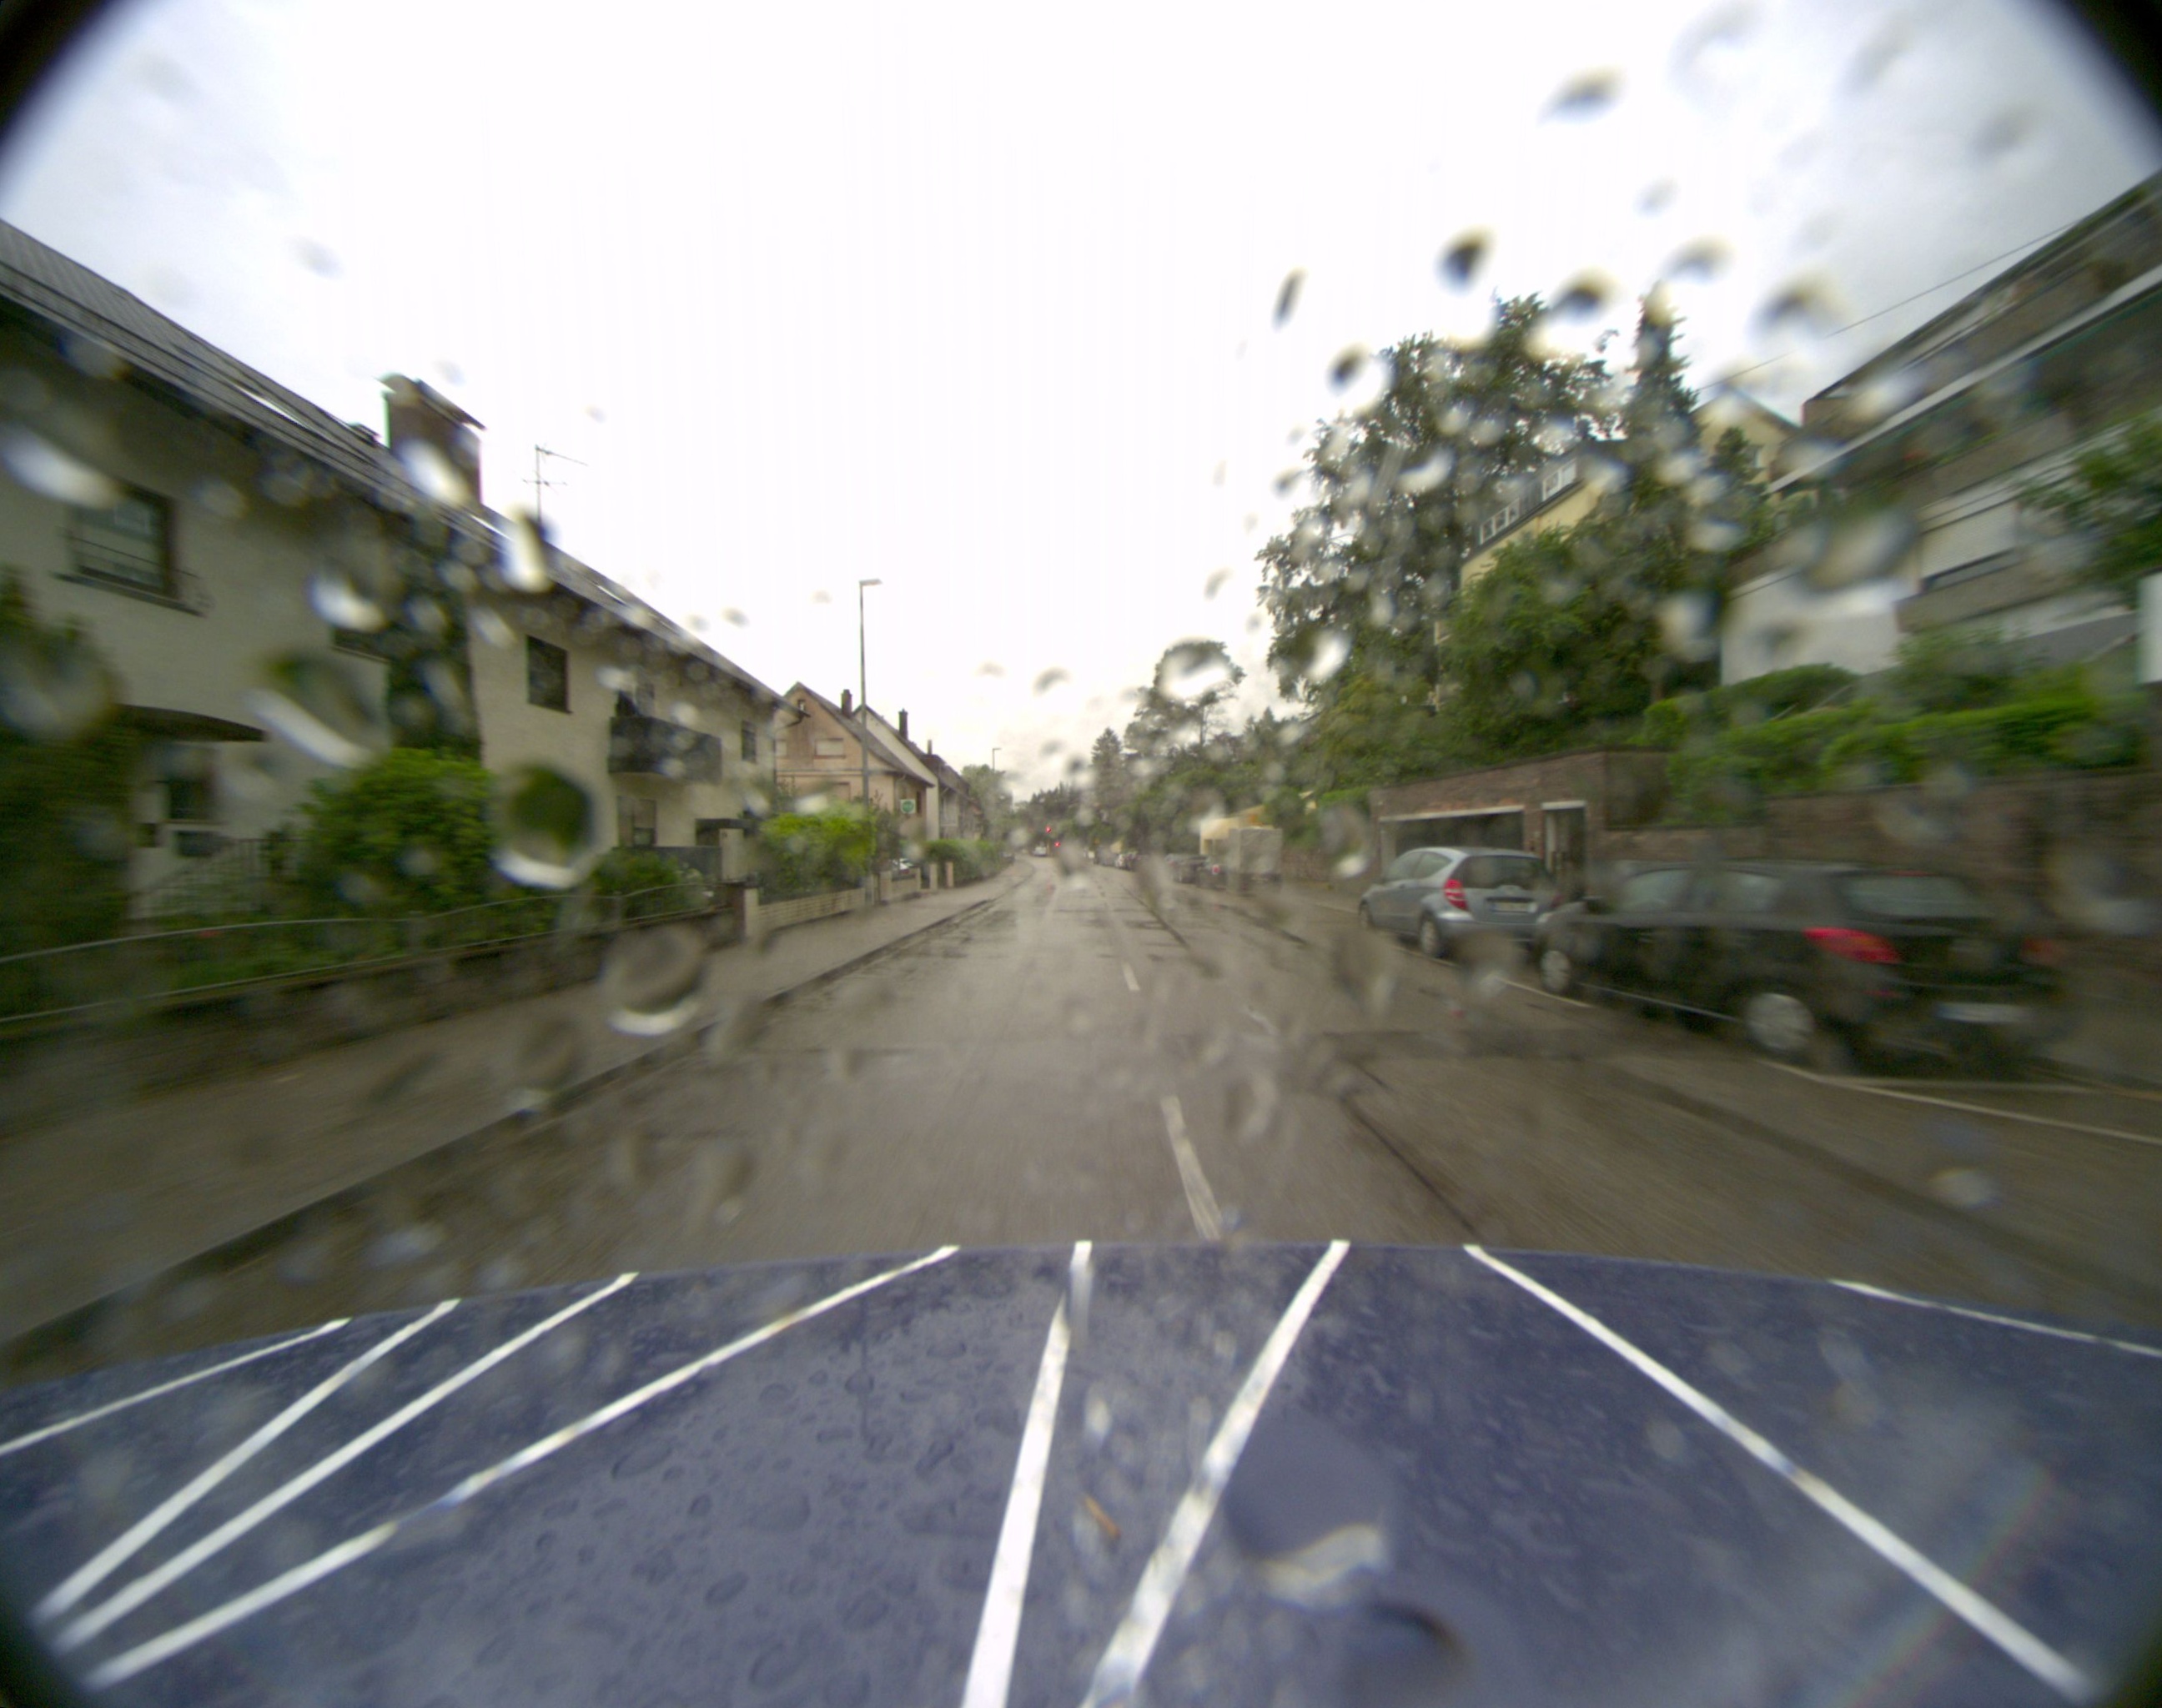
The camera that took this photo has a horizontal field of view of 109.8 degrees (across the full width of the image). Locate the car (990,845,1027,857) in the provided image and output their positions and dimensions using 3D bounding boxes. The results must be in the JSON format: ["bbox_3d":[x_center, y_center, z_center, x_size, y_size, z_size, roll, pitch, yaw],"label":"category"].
[{"bbox_3d":[-9.431,-0.405,98.758,4.371,1.357,1.922,-1,3,28],"label":"car"}]

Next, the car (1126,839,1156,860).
[{"bbox_3d":[4.909,-0.365,62.540,1.879,1.616,4.591,1,1,-3],"label":"car"}]

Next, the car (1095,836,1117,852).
[{"bbox_3d":[3.007,-1.292,94.039,2.165,1.908,5.320,-1,2,-4],"label":"car"}]

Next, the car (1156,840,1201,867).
[{"bbox_3d":[5.643,-0.041,44.599,1.790,1.446,4.753,1,1,-3],"label":"car"}]

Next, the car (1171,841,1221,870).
[{"bbox_3d":[5.821,0.065,38.817,1.790,1.407,4.216,0,1,-2],"label":"car"}]

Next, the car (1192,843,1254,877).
[{"bbox_3d":[5.938,0.219,32.172,1.813,1.341,3.775,0,1,-2],"label":"car"}]

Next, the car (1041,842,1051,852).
[{"bbox_3d":[-8.991,-1.810,193.466,2.086,2.464,4.848,1,1,-9],"label":"car"}]

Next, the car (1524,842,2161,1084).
[{"bbox_3d":[5.697,0.628,6.354,1.760,1.401,3.704,1,1,0],"label":"car"}]

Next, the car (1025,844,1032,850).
[{"bbox_3d":[-16.800,-2.273,244.149,1.926,1.747,3.996,-3,2,-8],"label":"car"}]

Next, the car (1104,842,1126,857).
[{"bbox_3d":[3.722,-0.537,83.507,1.914,1.472,4.752,1,2,-3],"label":"car"}]

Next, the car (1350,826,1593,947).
[{"bbox_3d":[5.748,0.397,11.759,1.760,1.530,3.755,1,1,0],"label":"car"}]

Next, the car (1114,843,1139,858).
[{"bbox_3d":[4.337,-0.337,72.571,1.721,1.357,4.081,1,0,-6],"label":"car"}]

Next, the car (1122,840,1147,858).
[{"bbox_3d":[4.755,-0.441,67.892,1.746,1.552,4.107,1,1,-2],"label":"car"}]

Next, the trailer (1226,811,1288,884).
[{"bbox_3d":[6.133,-0.237,26.776,1.540,2.386,3.072,1,1,2],"label":"trailer"}]

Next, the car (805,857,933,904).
[{"bbox_3d":[-7.822,0.966,28.364,4.233,1.438,1.702,-4,1,-2],"label":"car"}]
